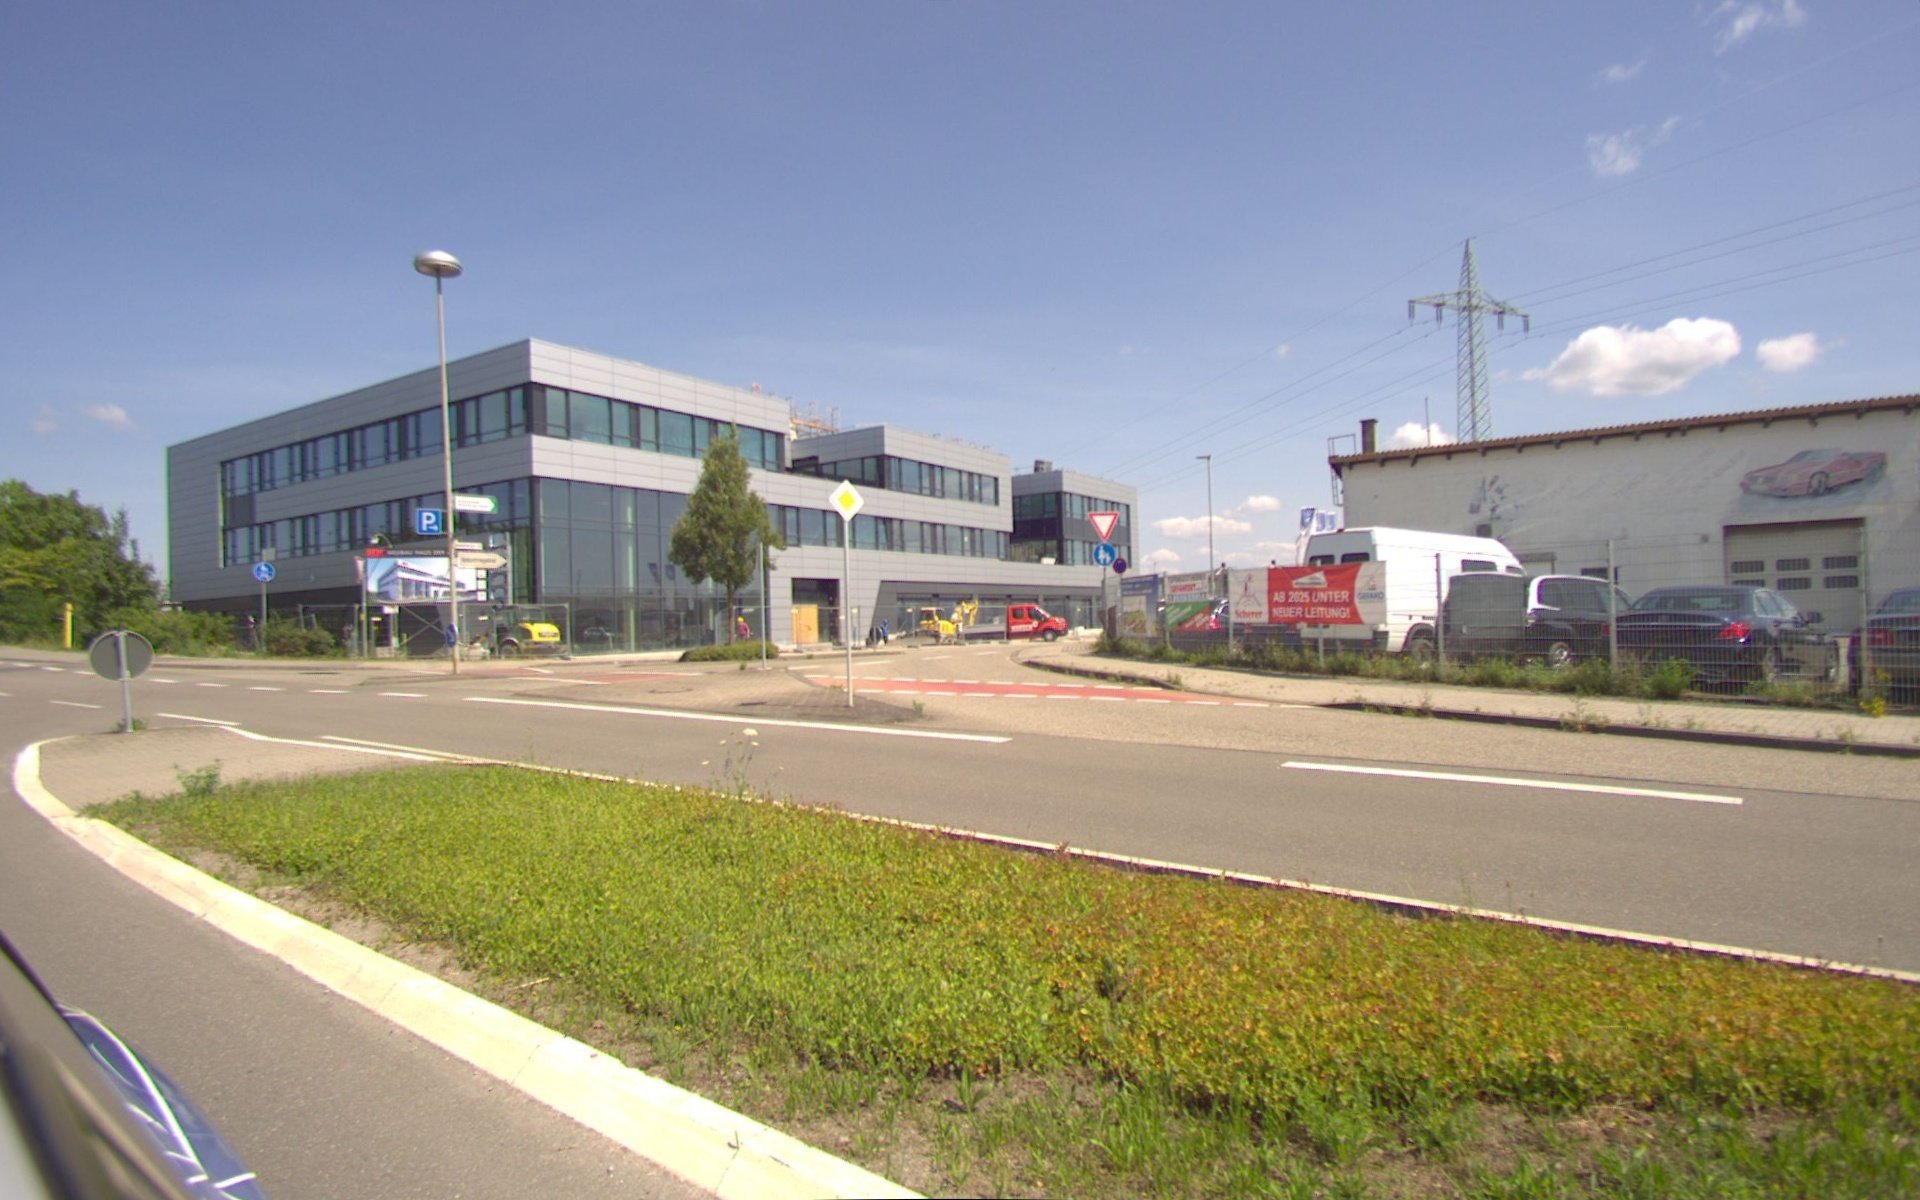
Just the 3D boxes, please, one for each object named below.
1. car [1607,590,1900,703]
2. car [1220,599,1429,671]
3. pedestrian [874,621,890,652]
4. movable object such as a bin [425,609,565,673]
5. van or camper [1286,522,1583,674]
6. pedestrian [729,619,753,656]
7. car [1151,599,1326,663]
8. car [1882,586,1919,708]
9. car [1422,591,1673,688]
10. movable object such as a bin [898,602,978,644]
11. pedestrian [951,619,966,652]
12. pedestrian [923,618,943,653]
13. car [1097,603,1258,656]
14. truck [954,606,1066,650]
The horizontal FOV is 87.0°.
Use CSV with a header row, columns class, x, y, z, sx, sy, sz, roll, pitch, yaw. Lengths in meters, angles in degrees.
class,x,y,z,sx,sy,sz,roll,pitch,yaw
car,10.913,0.562,13.868,3.933,1.331,2.005,-1,-1,-34
car,7.599,0.692,21.078,3.931,1.331,2.006,-1,-1,-30
pedestrian,-4.447,2.070,57.473,0.532,1.741,0.766,-2,-1,34
movable object such as a bin,-18.742,1.636,40.757,5.429,2.428,2.153,-2,-1,25
van or camper,8.944,-0.052,18.968,5.492,2.516,2.085,-1,-1,-28
pedestrian,-10.324,1.767,47.657,0.772,1.741,0.774,-2,-1,31
car,6.484,0.693,23.447,3.931,1.331,1.564,-1,-1,-30
car,12.325,0.479,11.600,3.825,1.331,1.696,-1,-1,-34
car,9.261,0.565,15.879,3.933,1.331,1.840,-1,-1,-34
movable object such as a bin,-1.275,1.428,64.183,3.355,2.471,6.343,-2,-1,16
pedestrian,-0.080,1.930,55.177,0.712,1.741,0.772,-2,-1,9
pedestrian,-1.486,1.955,55.630,0.895,1.893,0.703,-2,-1,20
car,6.099,0.804,28.416,3.931,1.331,2.006,-1,-1,-22
truck,2.853,1.566,57.043,6.084,2.251,2.364,-2,-1,9
